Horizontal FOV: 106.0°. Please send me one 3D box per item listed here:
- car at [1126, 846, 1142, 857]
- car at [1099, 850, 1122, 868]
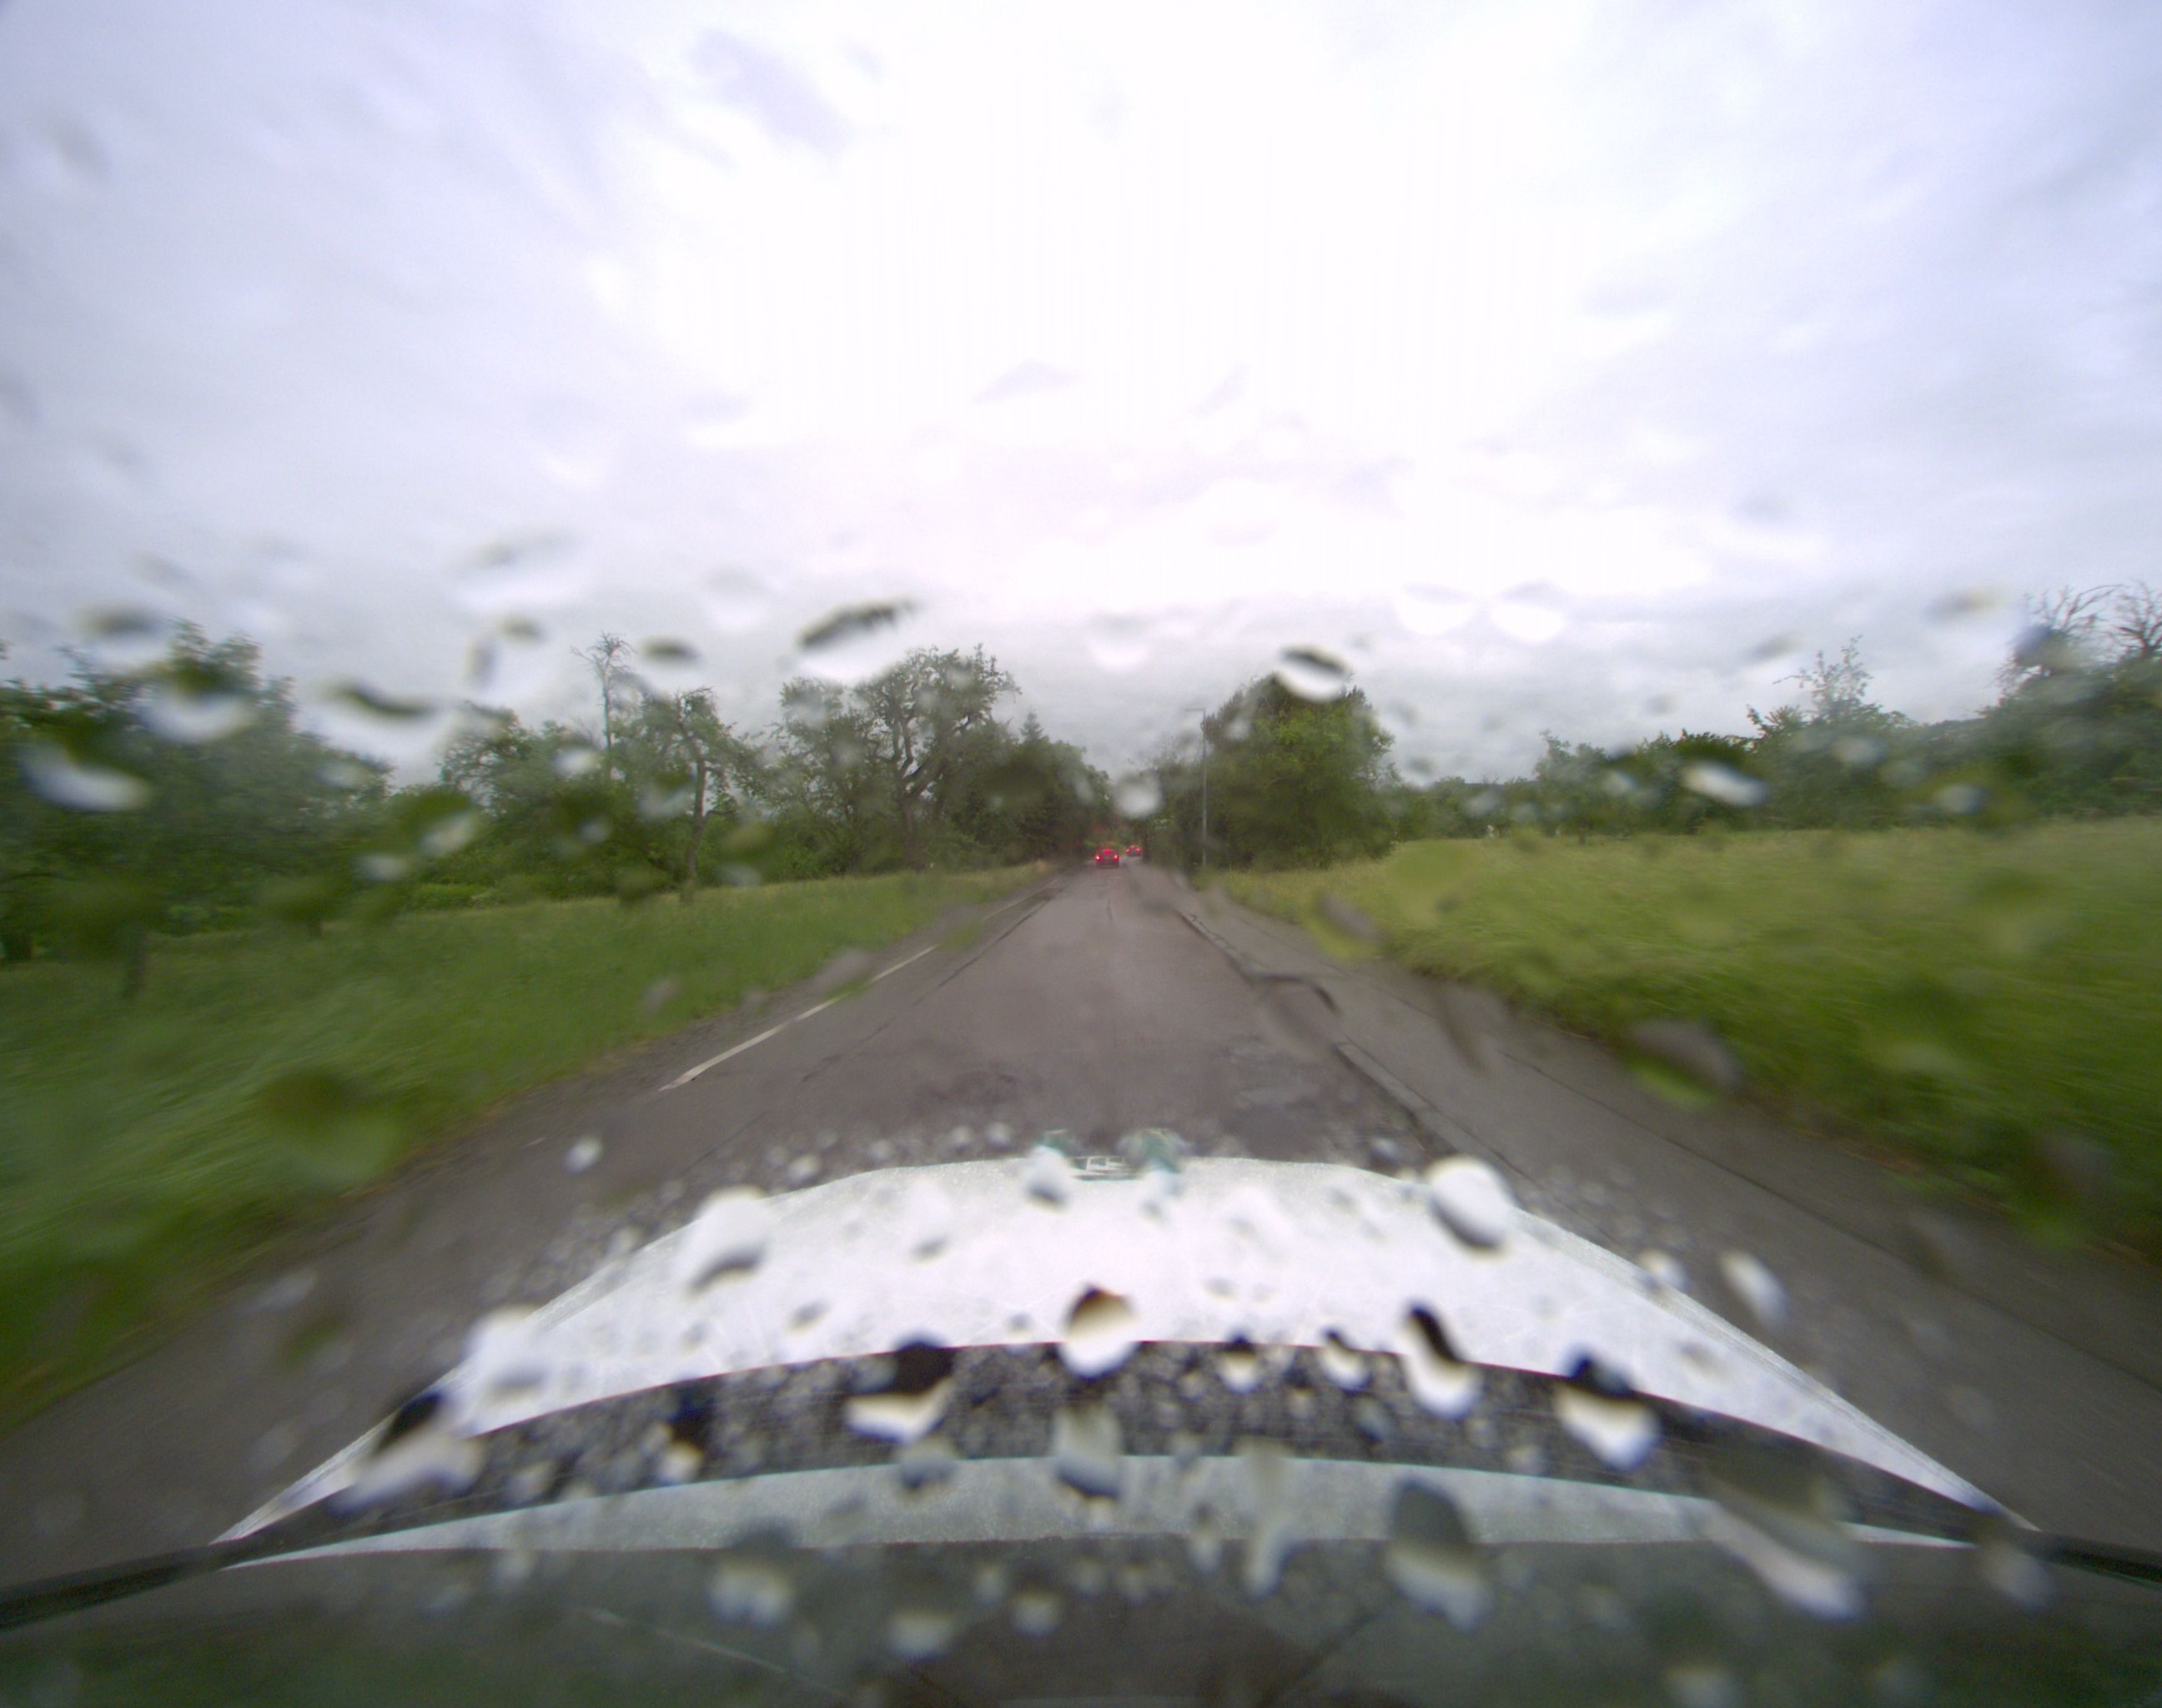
[{"bbox_3d":[7.153,-0.377,109.810,1.624,1.414,3.554,-1,-1,10],"label":"car"},{"bbox_3d":[2.449,0.418,66.314,1.627,1.450,3.549,-1,-1,5],"label":"car"}]
